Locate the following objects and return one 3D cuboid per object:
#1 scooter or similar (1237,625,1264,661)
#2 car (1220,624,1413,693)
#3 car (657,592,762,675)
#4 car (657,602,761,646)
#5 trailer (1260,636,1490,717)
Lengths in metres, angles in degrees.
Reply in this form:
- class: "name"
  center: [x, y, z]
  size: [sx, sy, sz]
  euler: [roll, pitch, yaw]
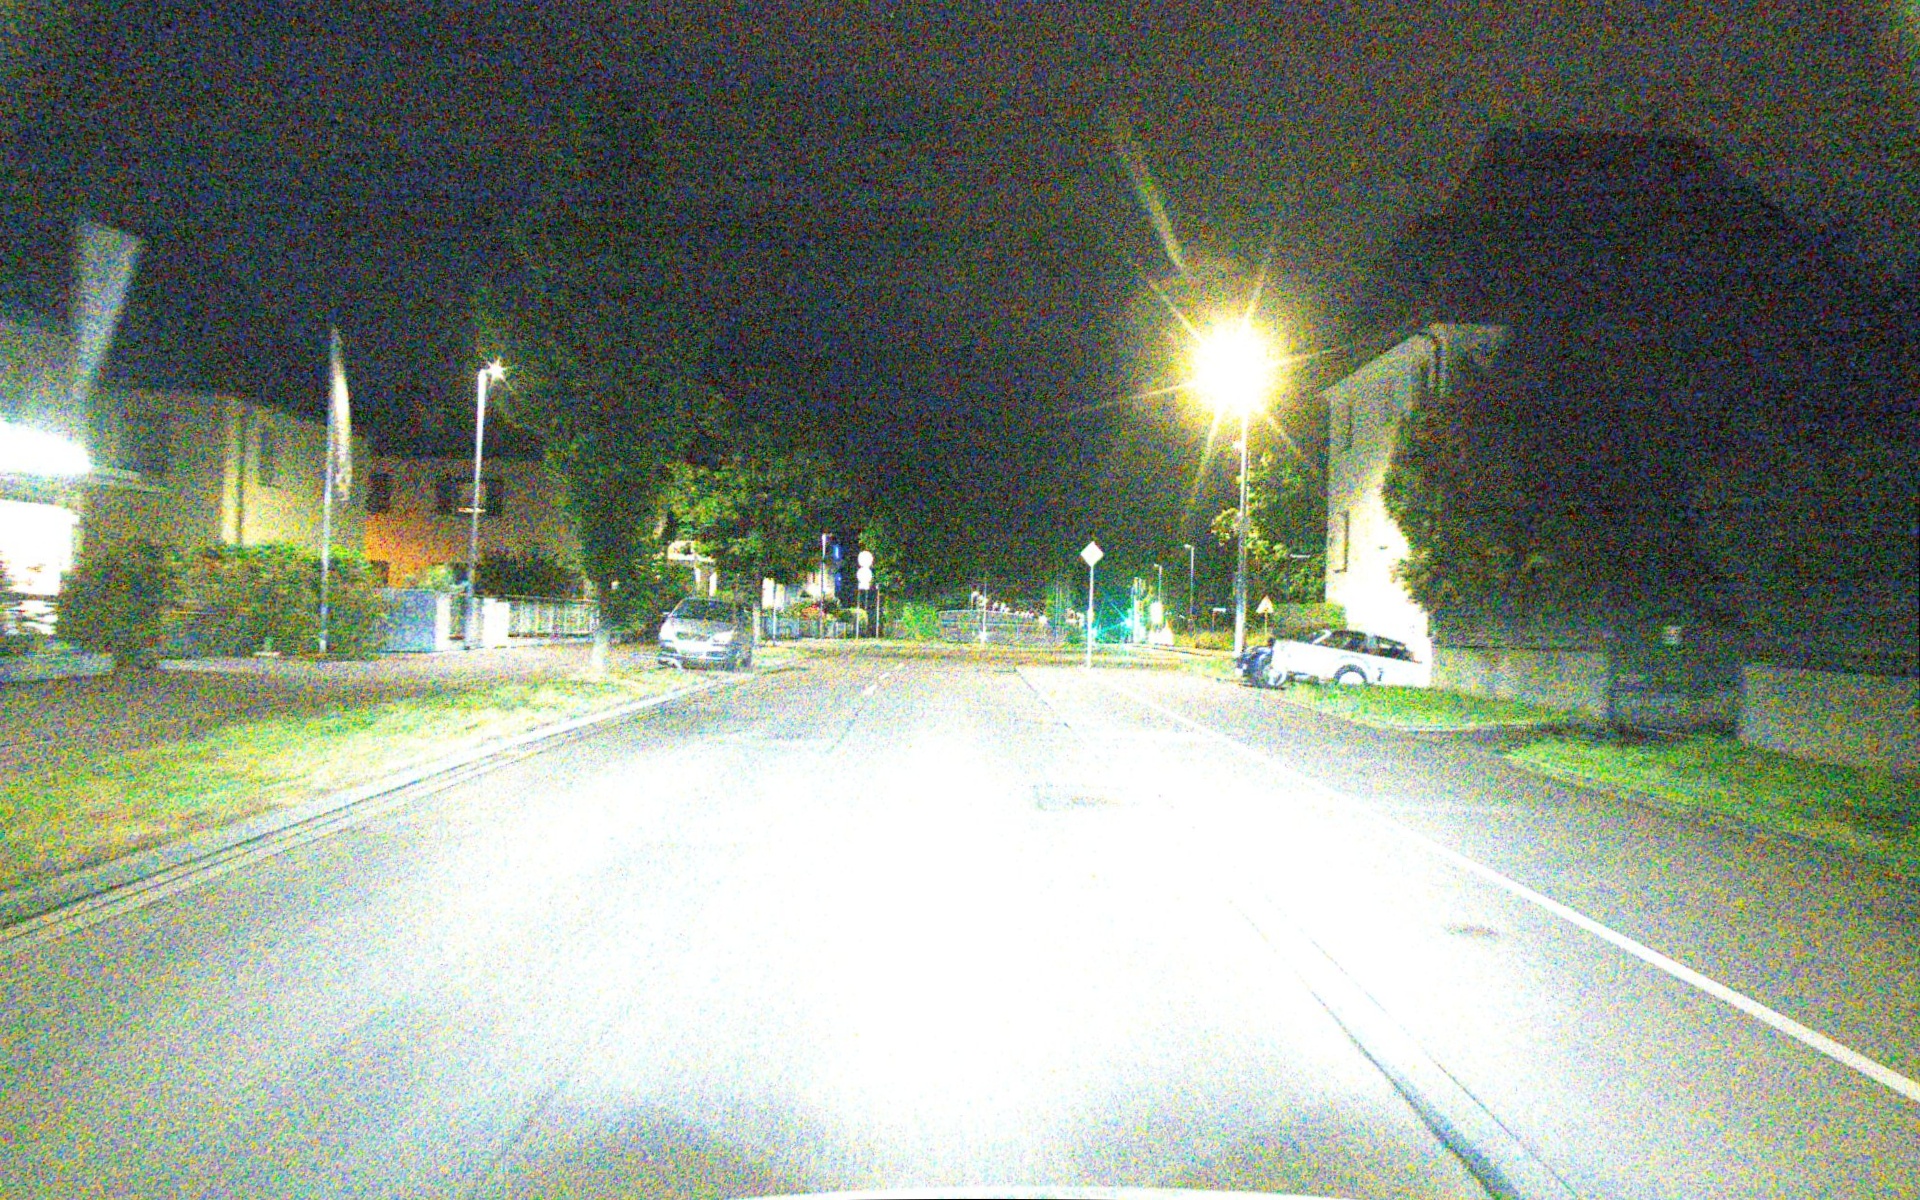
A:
- class: "scooter or similar"
  center: [10.790, 1.595, 61.476]
  size: [0.599, 1.303, 1.689]
  euler: [2, -1, -2]
- class: "car"
  center: [6.813, 1.105, 31.799]
  size: [3.323, 1.253, 1.724]
  euler: [0, 0, -2]
- class: "car"
  center: [-5.316, 0.687, 35.469]
  size: [1.638, 1.618, 3.986]
  euler: [2, 0, -1]
- class: "car"
  center: [-9.979, 0.973, 65.741]
  size: [3.635, 1.655, 1.783]
  euler: [1, -1, 19]
- class: "trailer"
  center: [7.003, 1.280, 28.153]
  size: [3.363, 1.019, 1.954]
  euler: [5, 0, -1]
